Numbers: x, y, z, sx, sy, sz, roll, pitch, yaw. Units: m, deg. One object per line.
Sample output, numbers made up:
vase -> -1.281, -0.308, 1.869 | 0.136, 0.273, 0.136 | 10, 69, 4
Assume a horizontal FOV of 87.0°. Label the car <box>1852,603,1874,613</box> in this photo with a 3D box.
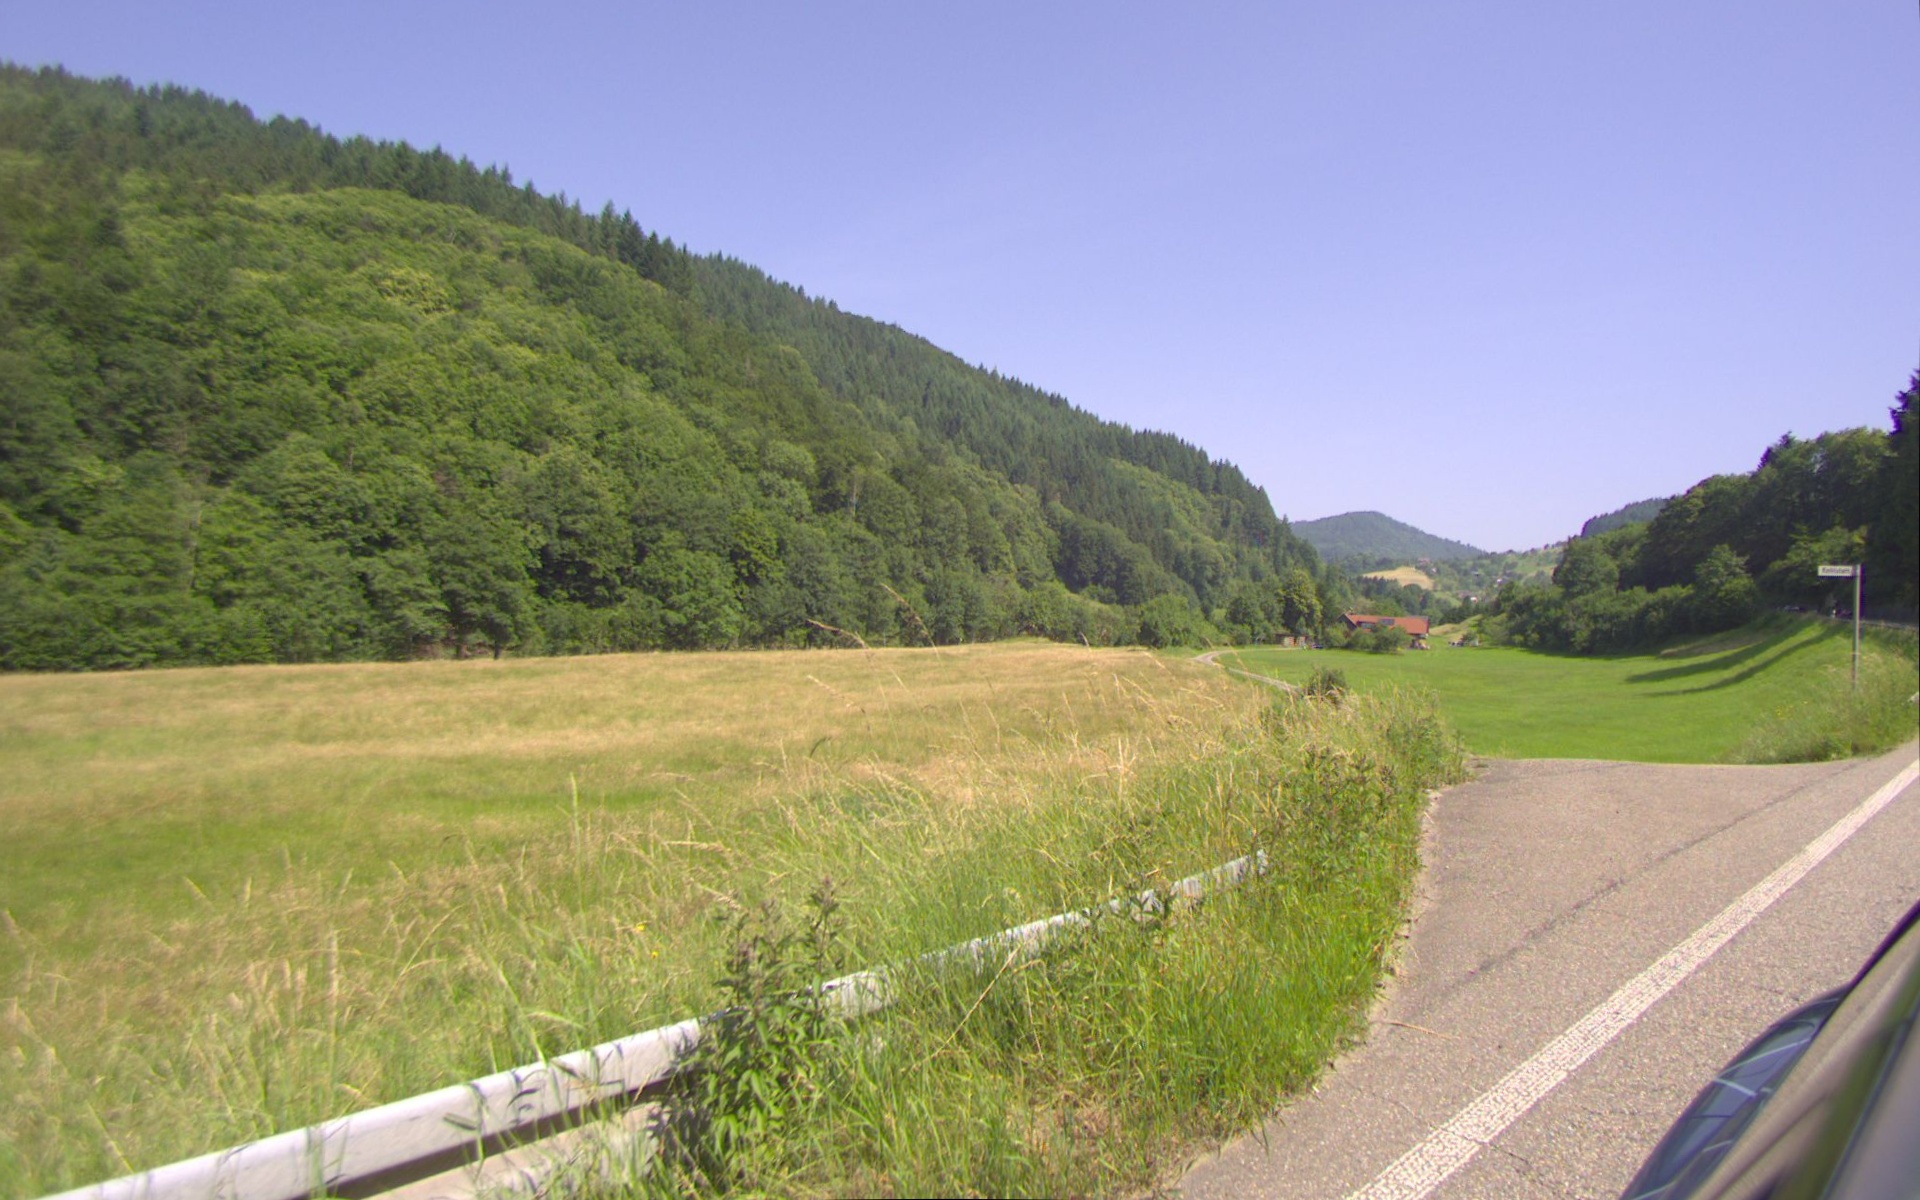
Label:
car -> 132.973, 1.119, 149.037 | 1.757, 1.414, 4.098 | 0, 1, 32
